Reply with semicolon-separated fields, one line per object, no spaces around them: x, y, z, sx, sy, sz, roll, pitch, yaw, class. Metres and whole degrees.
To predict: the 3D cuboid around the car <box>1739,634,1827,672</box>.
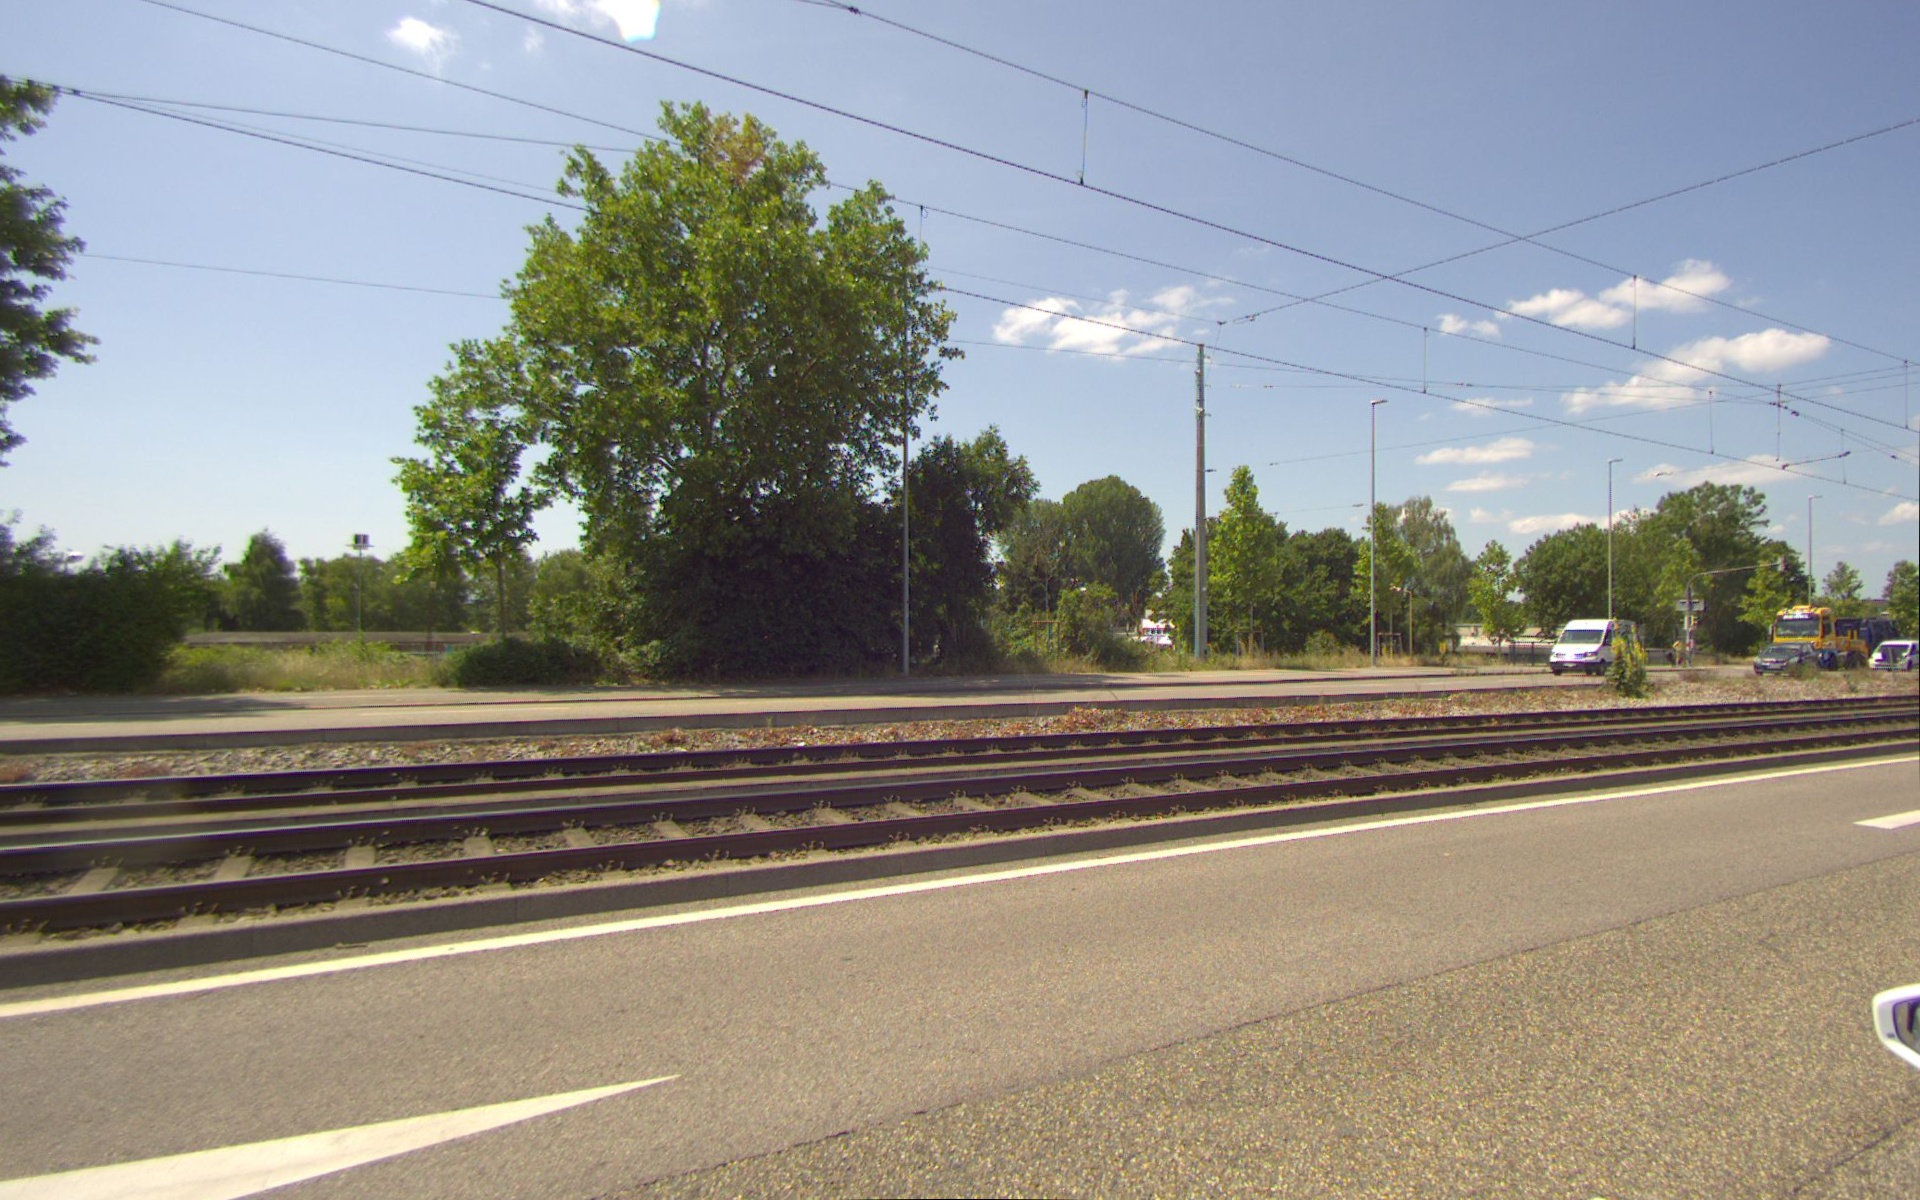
39.607;2.523;48.307;4.409;1.692;1.813;2;0;-30;car

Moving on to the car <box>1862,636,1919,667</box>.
55.821;3.066;59.809;4.407;1.692;1.814;2;0;-29;car

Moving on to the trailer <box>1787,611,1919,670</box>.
59.581;2.710;66.094;15.694;3.565;2.753;2;0;-31;trailer

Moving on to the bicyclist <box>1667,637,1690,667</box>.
44.602;3.196;62.348;0.337;1.798;1.112;2;0;-34;bicyclist

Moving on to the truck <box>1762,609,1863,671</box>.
52.562;2.469;61.913;6.365;3.616;2.753;2;0;-31;truck

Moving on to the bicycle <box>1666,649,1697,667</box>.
44.683;3.596;62.217;0.481;1.000;1.482;2;0;-33;bicycle

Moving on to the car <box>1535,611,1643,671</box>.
29.140;1.900;46.456;6.179;2.623;2.227;2;-3;-38;car
